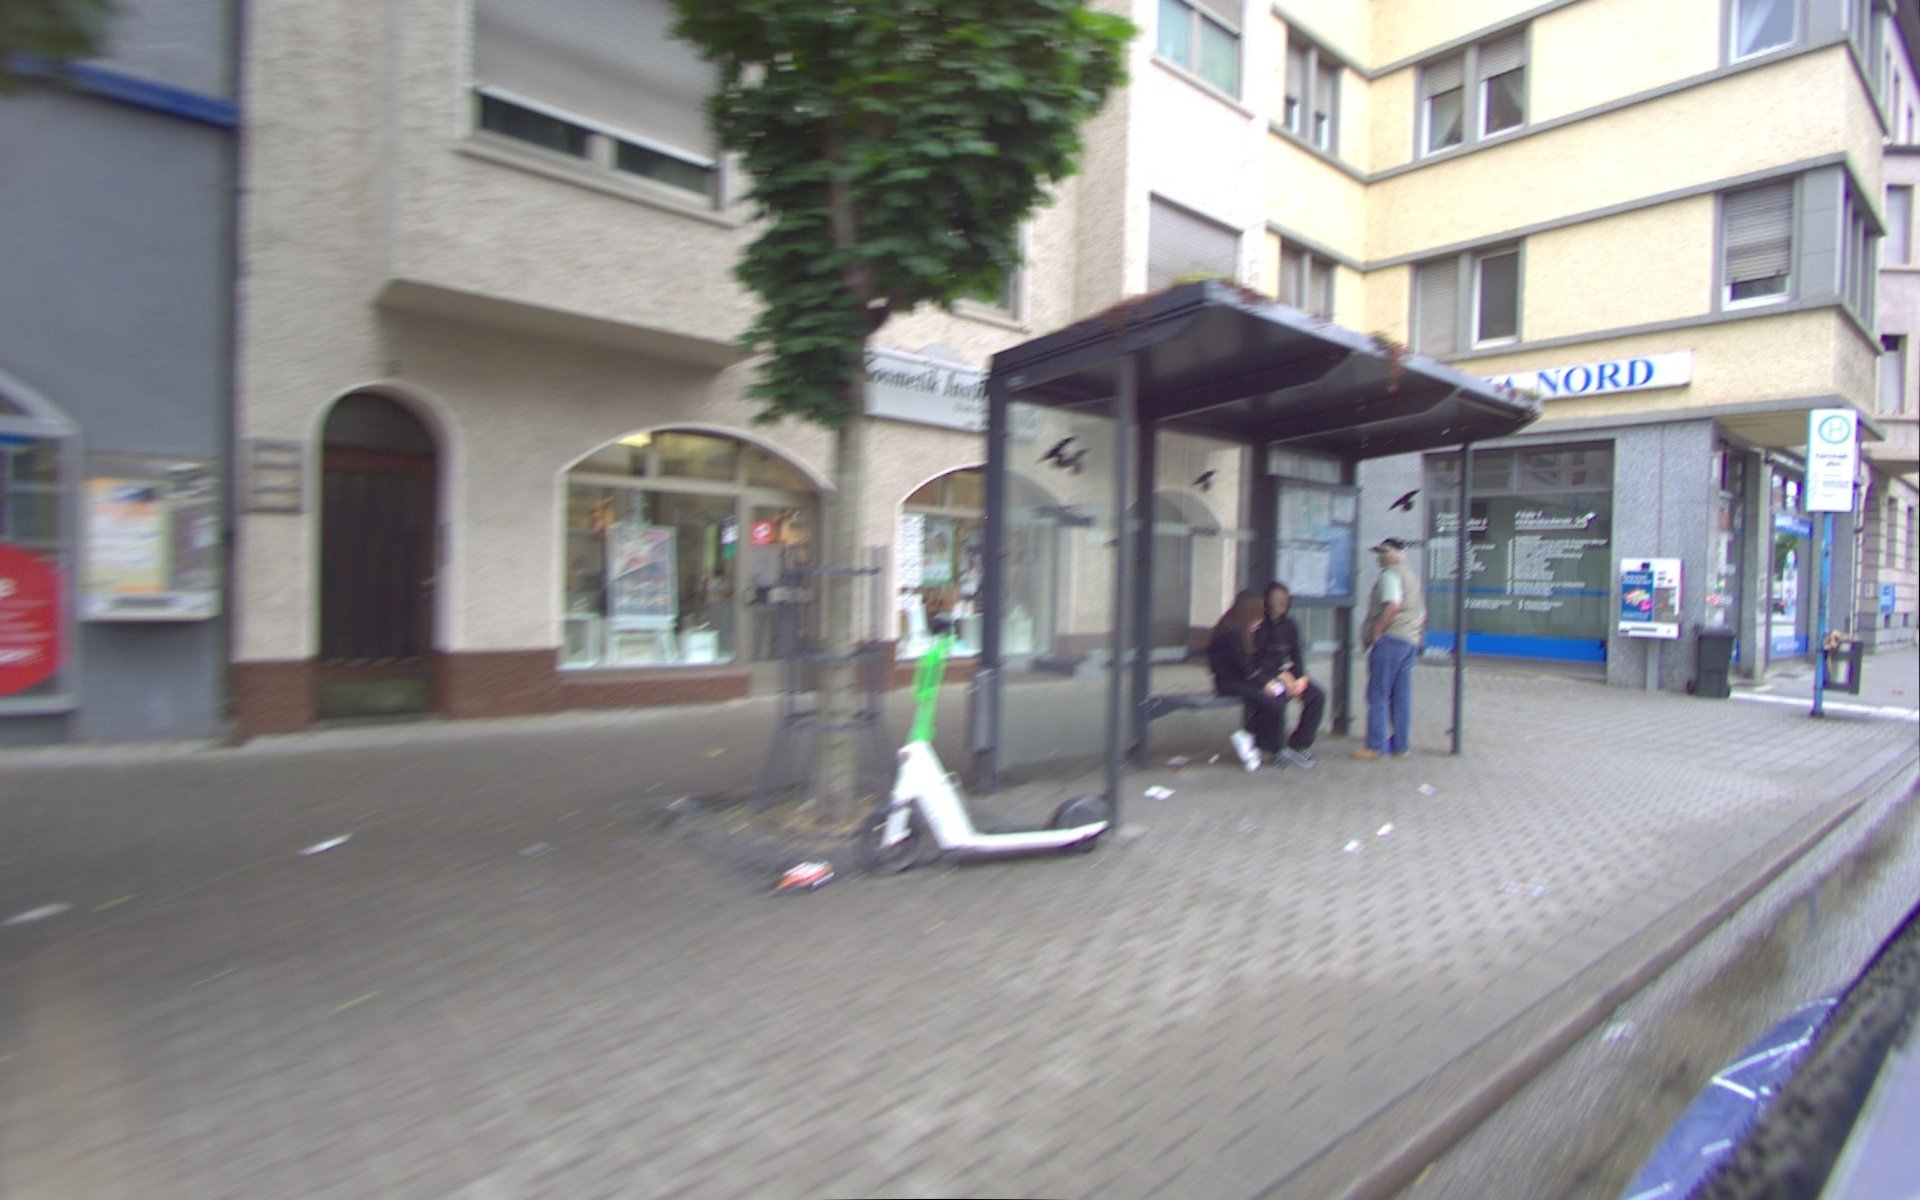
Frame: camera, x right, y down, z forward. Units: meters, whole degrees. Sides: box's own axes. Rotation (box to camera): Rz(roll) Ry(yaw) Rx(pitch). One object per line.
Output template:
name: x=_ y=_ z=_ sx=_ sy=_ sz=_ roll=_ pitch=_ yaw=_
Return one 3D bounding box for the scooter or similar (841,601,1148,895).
scooter or similar: x=0.210 y=0.615 z=4.886 sx=1.522 sy=1.187 sz=0.512 roll=0 pitch=2 yaw=-41

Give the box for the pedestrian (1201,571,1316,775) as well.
pedestrian: x=2.136 y=0.486 z=7.240 sx=0.586 sy=1.366 sz=0.535 roll=0 pitch=2 yaw=-42

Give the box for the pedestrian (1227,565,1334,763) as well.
pedestrian: x=2.421 y=0.451 z=7.652 sx=0.505 sy=1.414 sz=0.564 roll=0 pitch=2 yaw=-43

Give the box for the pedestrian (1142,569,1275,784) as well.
pedestrian: x=1.675 y=0.477 z=6.835 sx=0.614 sy=1.352 sz=0.607 roll=0 pitch=2 yaw=-42

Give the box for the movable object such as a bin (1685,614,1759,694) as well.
movable object such as a bin: x=9.743 y=0.674 z=12.939 sx=0.692 sy=0.937 sz=0.601 roll=0 pitch=2 yaw=-41

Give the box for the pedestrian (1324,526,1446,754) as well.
pedestrian: x=3.391 y=0.290 z=8.086 sx=0.644 sy=1.720 sz=0.621 roll=0 pitch=2 yaw=-36
